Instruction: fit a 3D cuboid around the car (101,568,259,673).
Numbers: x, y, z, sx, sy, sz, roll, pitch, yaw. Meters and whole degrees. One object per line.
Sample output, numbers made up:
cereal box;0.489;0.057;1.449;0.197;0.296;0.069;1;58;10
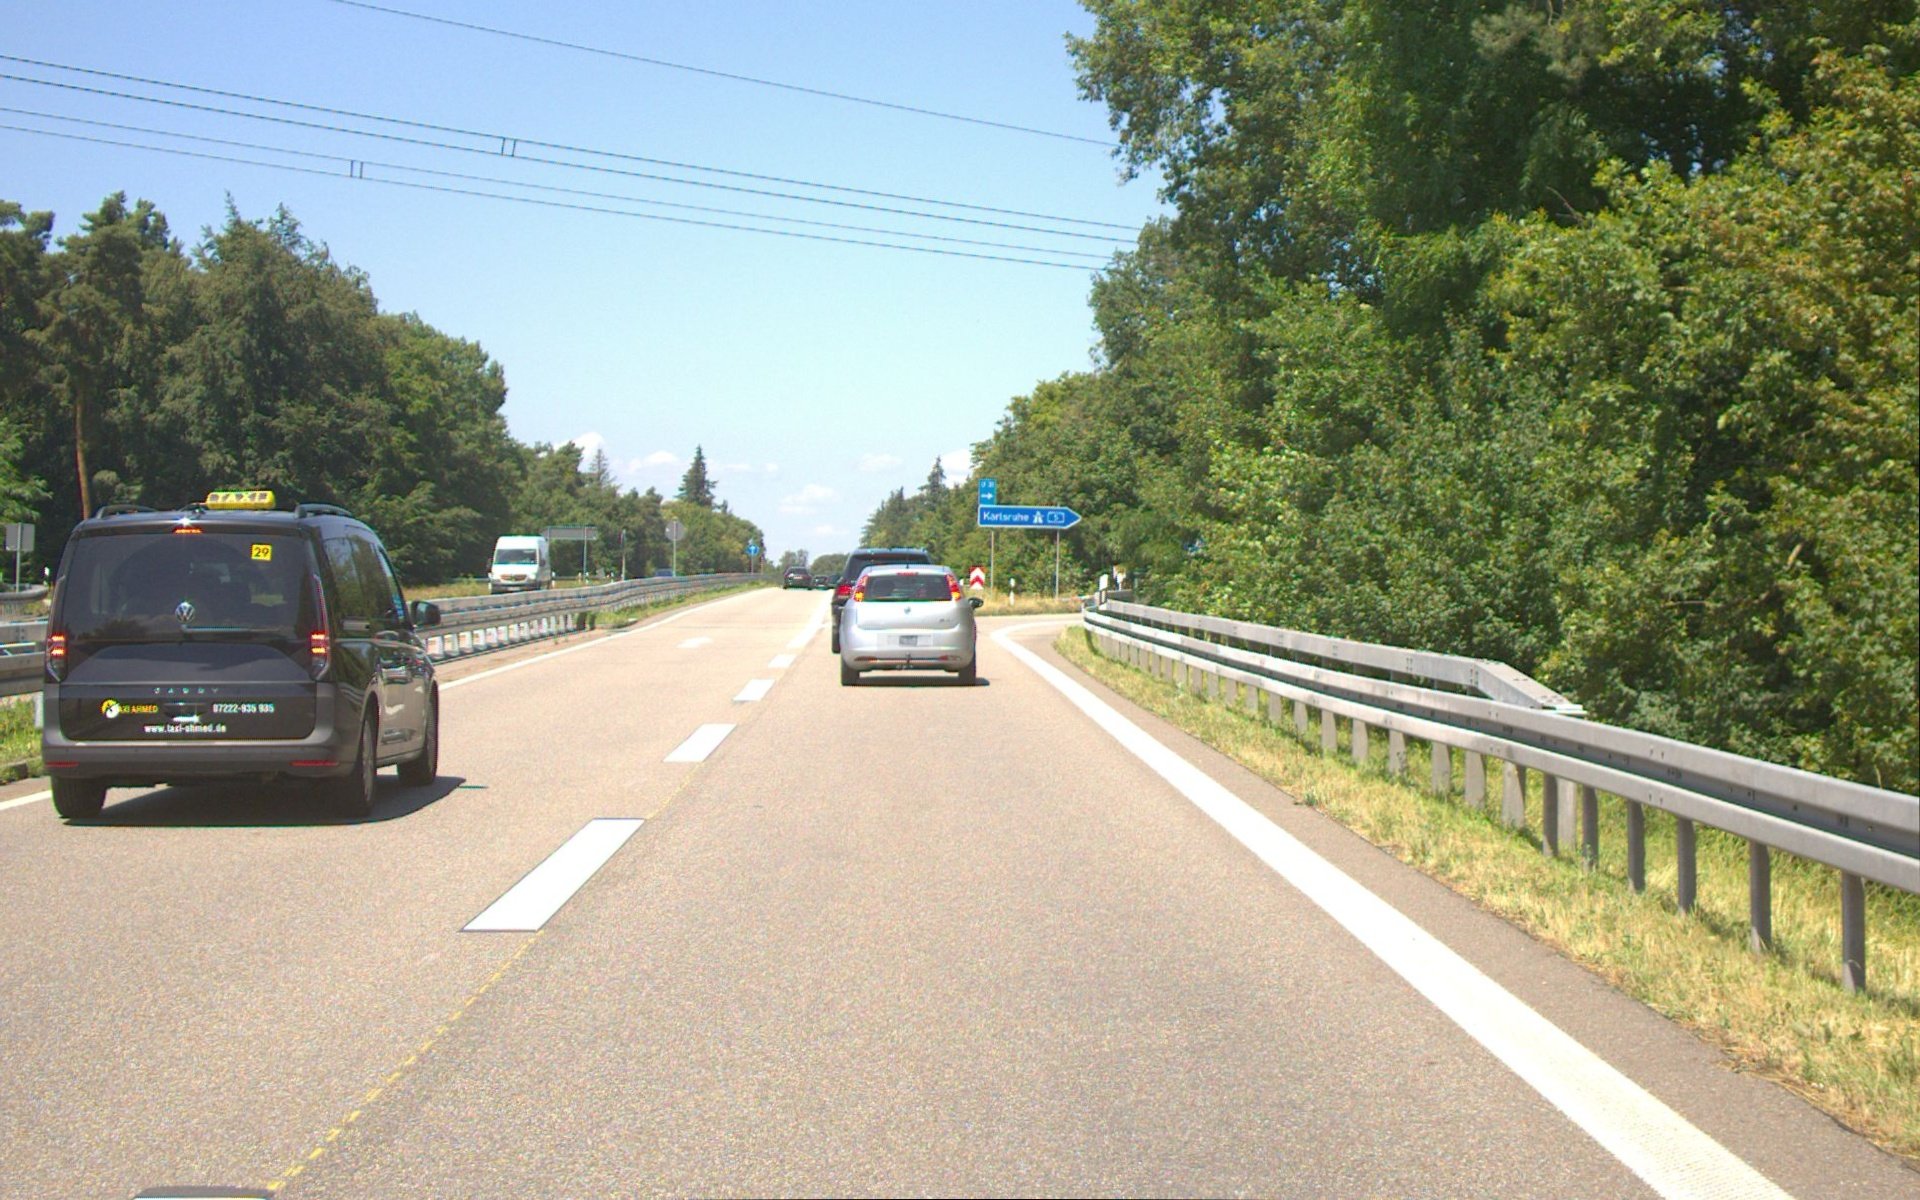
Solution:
car;-15.335;0.388;67.887;1.891;1.986;5.533;0;0;0

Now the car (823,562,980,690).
car;-0.770;0.308;42.825;1.640;1.463;3.419;3;0;-5

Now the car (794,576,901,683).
car;-1.856;0.479;57.520;1.640;1.648;3.574;3;0;-1

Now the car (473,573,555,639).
car;-18.474;0.245;142.712;2.524;2.609;7.186;-1;0;-1

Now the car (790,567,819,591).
car;-9.881;-1.330;218.162;1.712;1.466;3.574;3;0;-1

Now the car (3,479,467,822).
car;-4.381;0.279;21.669;1.854;1.881;5.573;0;0;-1
